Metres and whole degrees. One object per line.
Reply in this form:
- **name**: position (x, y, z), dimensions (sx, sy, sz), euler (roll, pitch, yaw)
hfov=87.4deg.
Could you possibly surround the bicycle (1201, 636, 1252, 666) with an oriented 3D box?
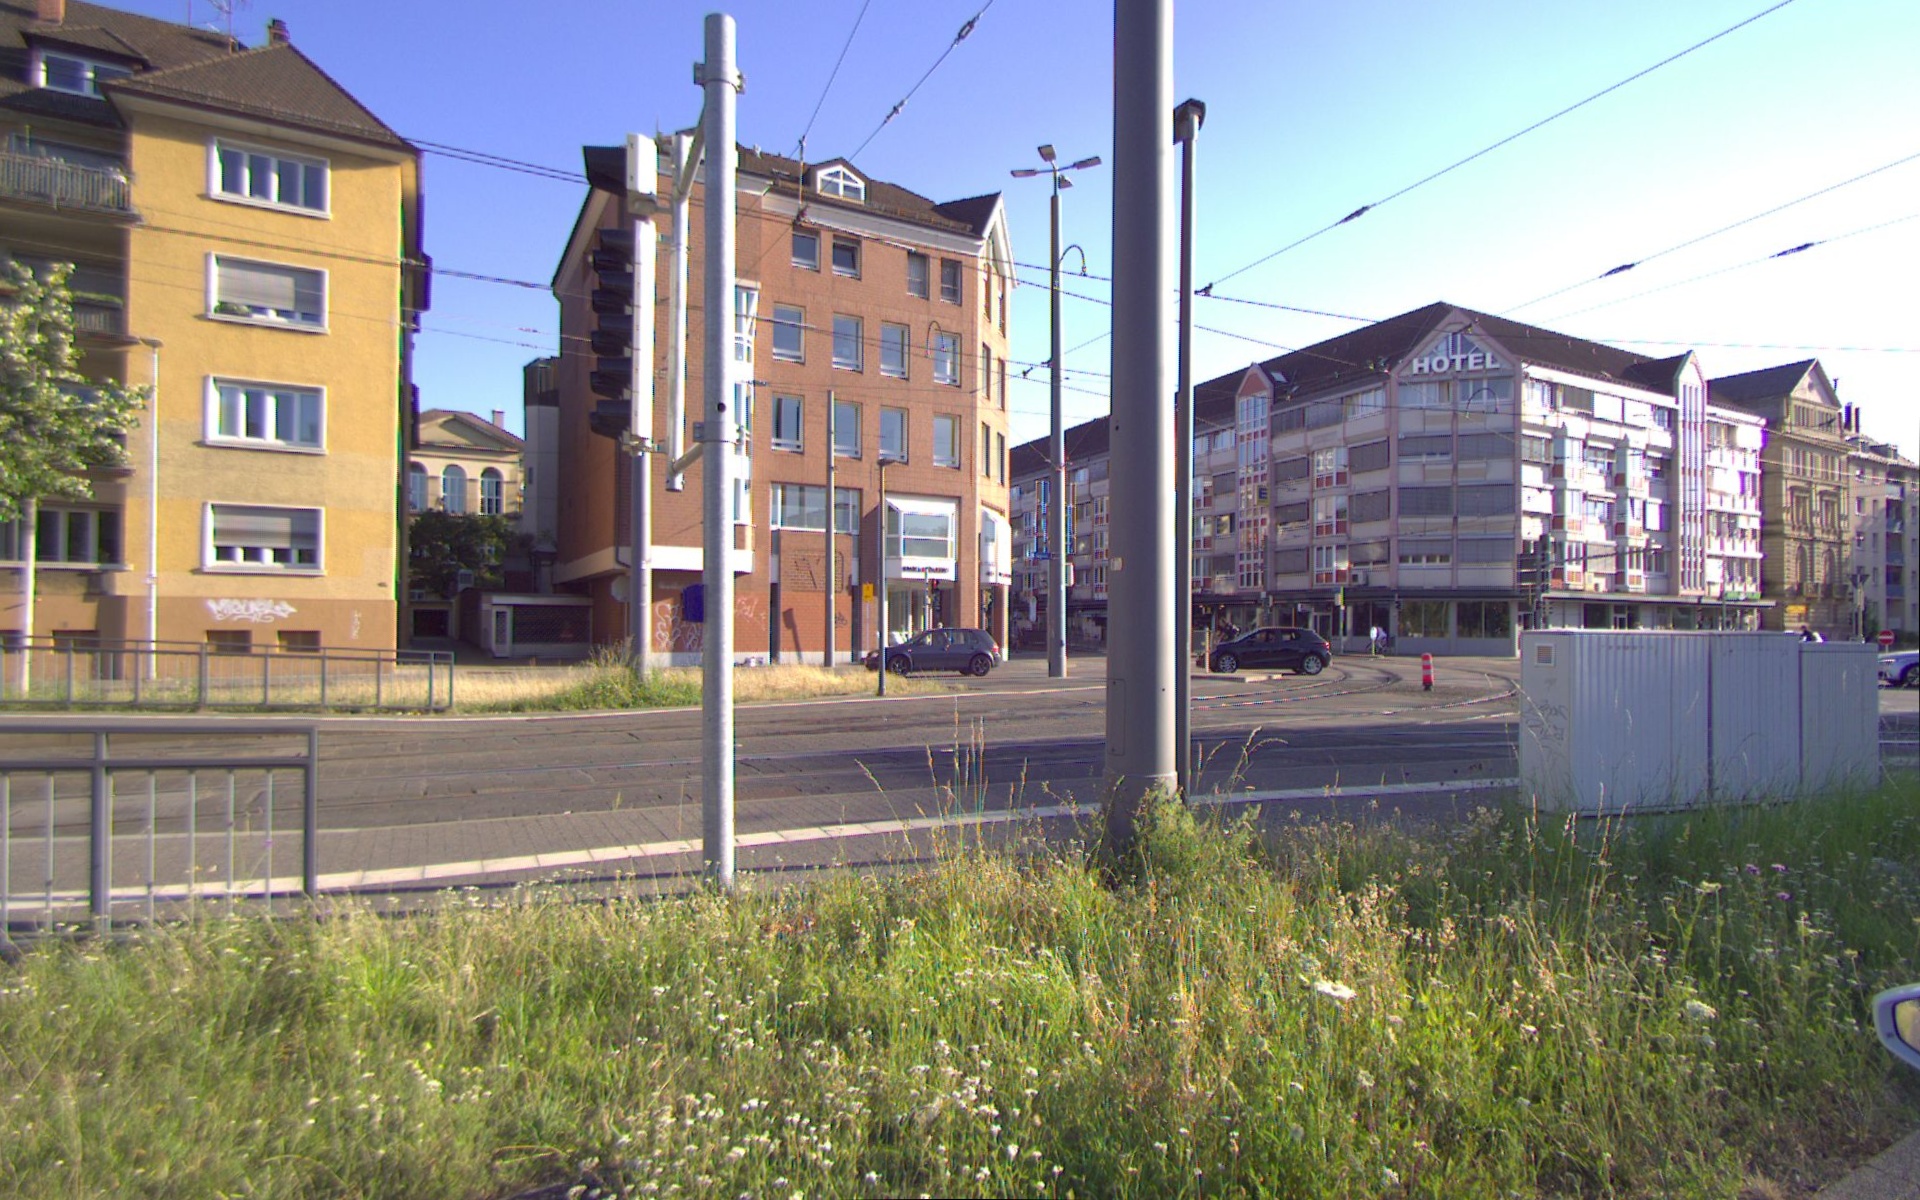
- **bicycle**: position (9.798, 1.877, 36.978), dimensions (1.745, 1.086, 0.535), euler (0, -1, 8)

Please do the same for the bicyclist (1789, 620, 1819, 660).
- **bicyclist**: position (38.471, 1.824, 45.804), dimensions (0.643, 1.776, 0.893), euler (1, -2, -33)

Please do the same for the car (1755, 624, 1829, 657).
- **car**: position (49.127, 2.397, 59.291), dimensions (3.949, 1.884, 1.986), euler (1, -2, -28)

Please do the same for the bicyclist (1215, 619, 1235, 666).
- **bicyclist**: position (9.770, 1.556, 36.992), dimensions (0.652, 1.734, 0.539), euler (0, -1, 8)

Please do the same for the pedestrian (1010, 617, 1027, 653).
- **pedestrian**: position (3.366, 2.020, 57.690), dimensions (0.713, 2.040, 0.712), euler (1, -1, -26)

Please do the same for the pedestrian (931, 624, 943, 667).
- **pedestrian**: position (-0.995, 1.943, 43.209), dimensions (0.532, 1.831, 0.502), euler (0, -1, -2)

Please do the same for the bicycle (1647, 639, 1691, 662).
- **bicycle**: position (38.370, 2.731, 54.370), dimensions (1.936, 1.216, 0.608), euler (0, -1, 37)

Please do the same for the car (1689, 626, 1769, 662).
- **car**: position (42.355, 2.404, 55.320), dimensions (3.949, 1.884, 1.986), euler (1, -2, -28)

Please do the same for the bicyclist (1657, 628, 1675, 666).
- **bicyclist**: position (38.270, 2.548, 54.442), dimensions (0.767, 2.040, 0.602), euler (0, -1, 37)

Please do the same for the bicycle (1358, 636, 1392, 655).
- **bicycle**: position (23.334, 2.555, 56.469), dimensions (0.535, 1.073, 1.718), euler (1, -2, -39)

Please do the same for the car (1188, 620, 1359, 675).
- **car**: position (9.568, 1.445, 30.985), dimensions (4.683, 1.617, 2.001), euler (0, -2, 4)

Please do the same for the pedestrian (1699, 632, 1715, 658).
- **pedestrian**: position (47.677, 2.889, 64.110), dimensions (0.695, 1.626, 0.623), euler (1, -1, -28)

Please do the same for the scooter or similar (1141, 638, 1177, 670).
- **scooter or similar**: position (6.859, 1.866, 34.621), dimensions (1.152, 1.086, 0.530), euler (0, -1, -2)

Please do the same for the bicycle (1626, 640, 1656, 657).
- **bicycle**: position (37.932, 2.713, 55.969), dimensions (1.813, 0.927, 0.596), euler (1, -2, -28)

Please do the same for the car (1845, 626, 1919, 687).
- **car**: position (26.690, 1.502, 26.788), dimensions (4.267, 1.617, 1.997), euler (-1, -2, 28)

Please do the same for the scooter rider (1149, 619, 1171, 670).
- **scooter rider**: position (6.891, 1.540, 34.631), dimensions (0.653, 1.734, 0.526), euler (0, -1, -2)

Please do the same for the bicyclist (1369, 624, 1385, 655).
- **bicyclist**: position (23.401, 2.215, 56.392), dimensions (0.534, 1.734, 0.658), euler (1, -2, -39)

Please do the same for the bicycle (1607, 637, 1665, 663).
- **bicycle**: position (30.611, 2.252, 45.498), dimensions (0.651, 1.152, 2.081), euler (1, -2, -33)

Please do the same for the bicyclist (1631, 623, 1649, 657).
- **bicyclist**: position (37.955, 2.215, 56.047), dimensions (0.634, 1.886, 0.590), euler (1, -2, -28)

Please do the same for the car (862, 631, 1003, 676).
- **car**: position (-0.853, 1.583, 30.248), dimensions (3.932, 1.305, 1.842), euler (1, -2, -14)

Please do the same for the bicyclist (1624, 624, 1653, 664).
- **bicyclist**: position (30.670, 1.965, 45.412), dimensions (0.648, 1.776, 0.893), euler (1, -2, -33)

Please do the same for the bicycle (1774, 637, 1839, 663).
- **bicycle**: position (38.510, 2.258, 45.744), dimensions (0.652, 1.152, 2.161), euler (1, -2, -33)
